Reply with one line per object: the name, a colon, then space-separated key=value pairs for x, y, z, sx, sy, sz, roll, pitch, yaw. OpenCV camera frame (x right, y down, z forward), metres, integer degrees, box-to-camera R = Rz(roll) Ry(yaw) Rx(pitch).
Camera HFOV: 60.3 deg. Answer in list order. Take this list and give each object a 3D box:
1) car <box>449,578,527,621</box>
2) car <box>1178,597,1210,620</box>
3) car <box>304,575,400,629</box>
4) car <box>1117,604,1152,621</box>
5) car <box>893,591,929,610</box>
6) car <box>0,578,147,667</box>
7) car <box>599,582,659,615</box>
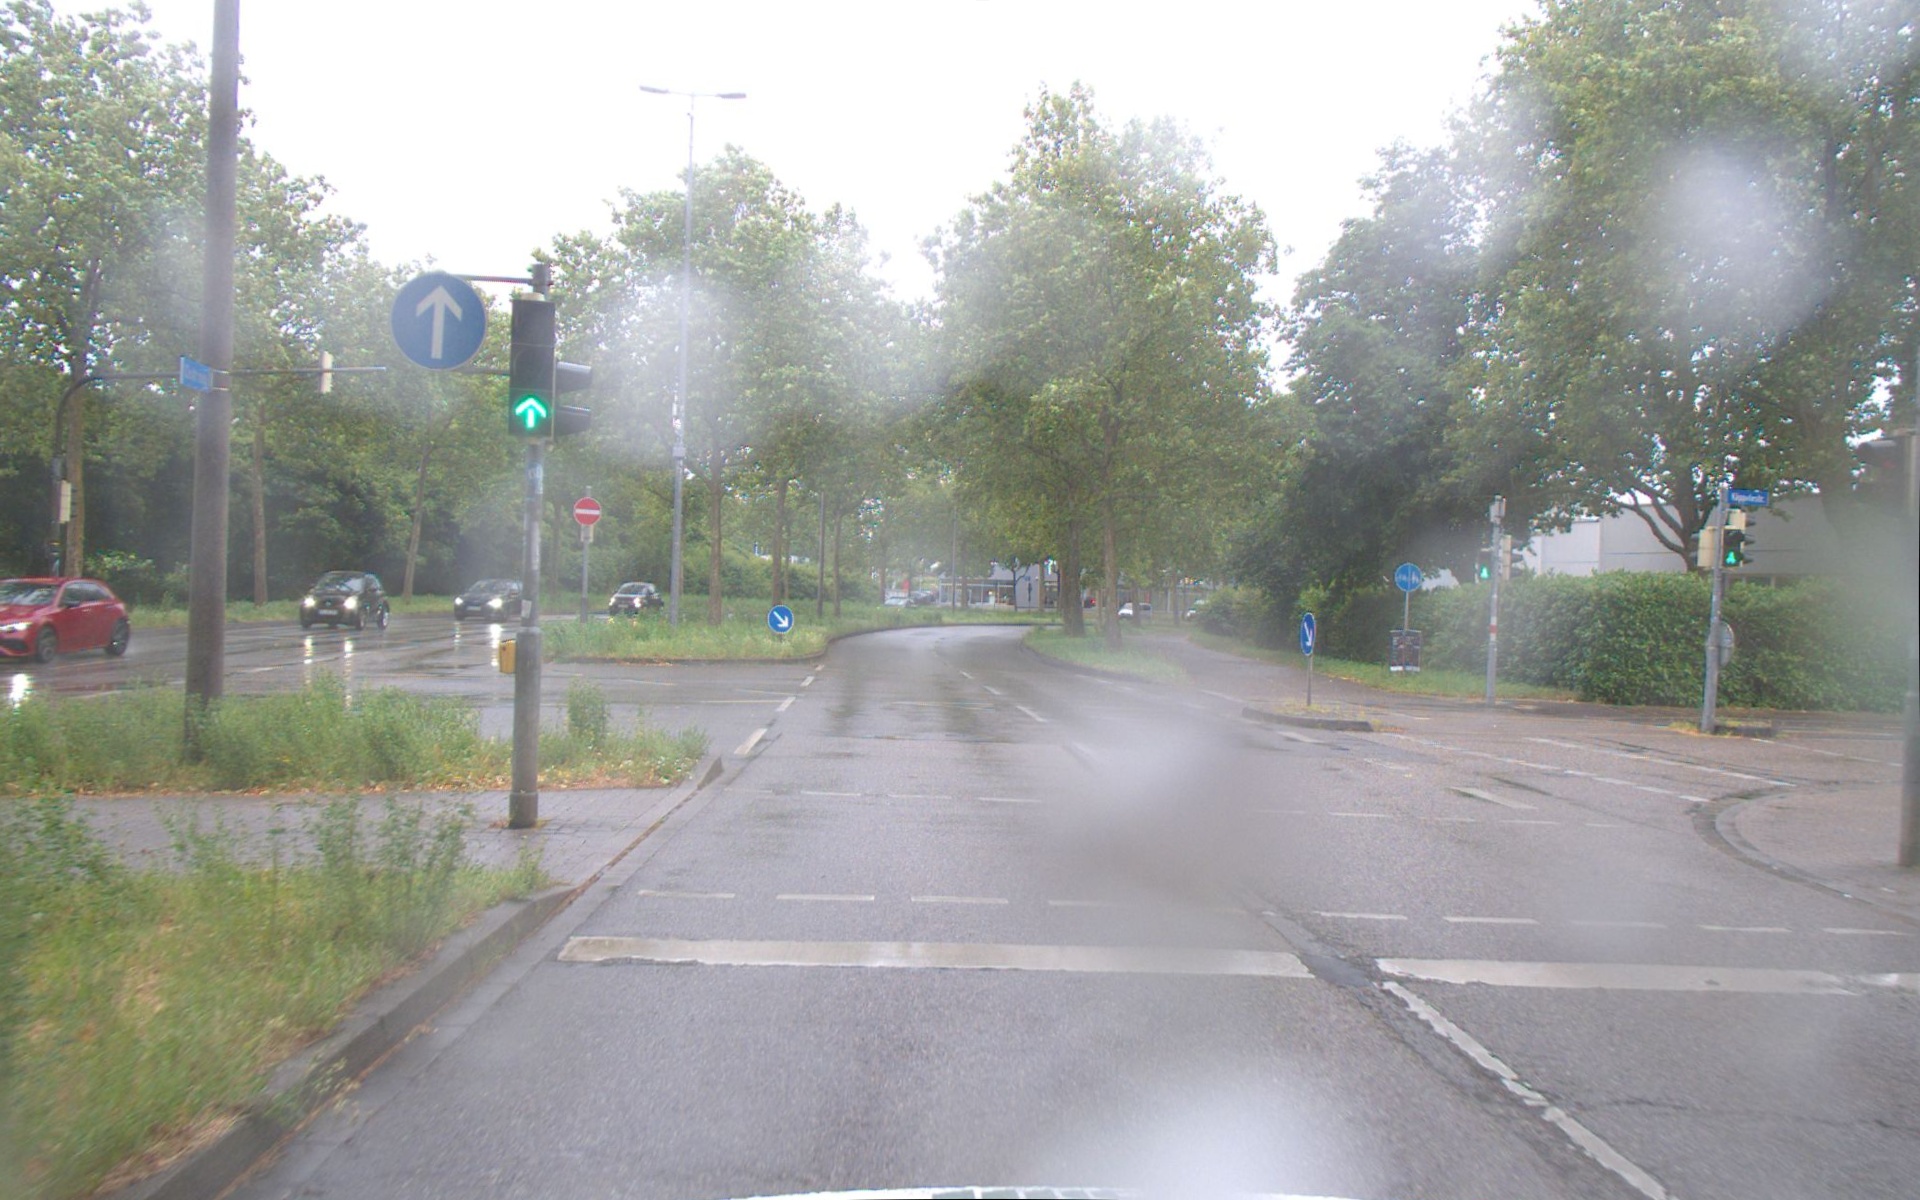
car: x=-16.536 y=-0.015 z=58.119 sx=1.555 sy=1.397 sz=4.261 roll=1 pitch=0 yaw=-2
car: x=25.227 y=0.897 z=178.258 sx=2.235 sy=2.311 sz=5.969 roll=2 pitch=0 yaw=19
car: x=-16.856 y=0.050 z=45.954 sx=1.555 sy=1.397 sz=3.332 roll=1 pitch=0 yaw=-3
car: x=17.147 y=1.268 z=162.323 sx=1.932 sy=1.591 sz=4.728 roll=2 pitch=0 yaw=24
car: x=-5.621 y=0.084 z=189.632 sx=3.915 sy=2.049 sz=1.995 roll=2 pitch=-2 yaw=-10
car: x=-16.305 y=0.352 z=29.289 sx=1.708 sy=1.432 sz=4.442 roll=1 pitch=0 yaw=-2
car: x=-14.837 y=-0.061 z=74.324 sx=1.554 sy=1.397 sz=4.264 roll=1 pitch=0 yaw=3
